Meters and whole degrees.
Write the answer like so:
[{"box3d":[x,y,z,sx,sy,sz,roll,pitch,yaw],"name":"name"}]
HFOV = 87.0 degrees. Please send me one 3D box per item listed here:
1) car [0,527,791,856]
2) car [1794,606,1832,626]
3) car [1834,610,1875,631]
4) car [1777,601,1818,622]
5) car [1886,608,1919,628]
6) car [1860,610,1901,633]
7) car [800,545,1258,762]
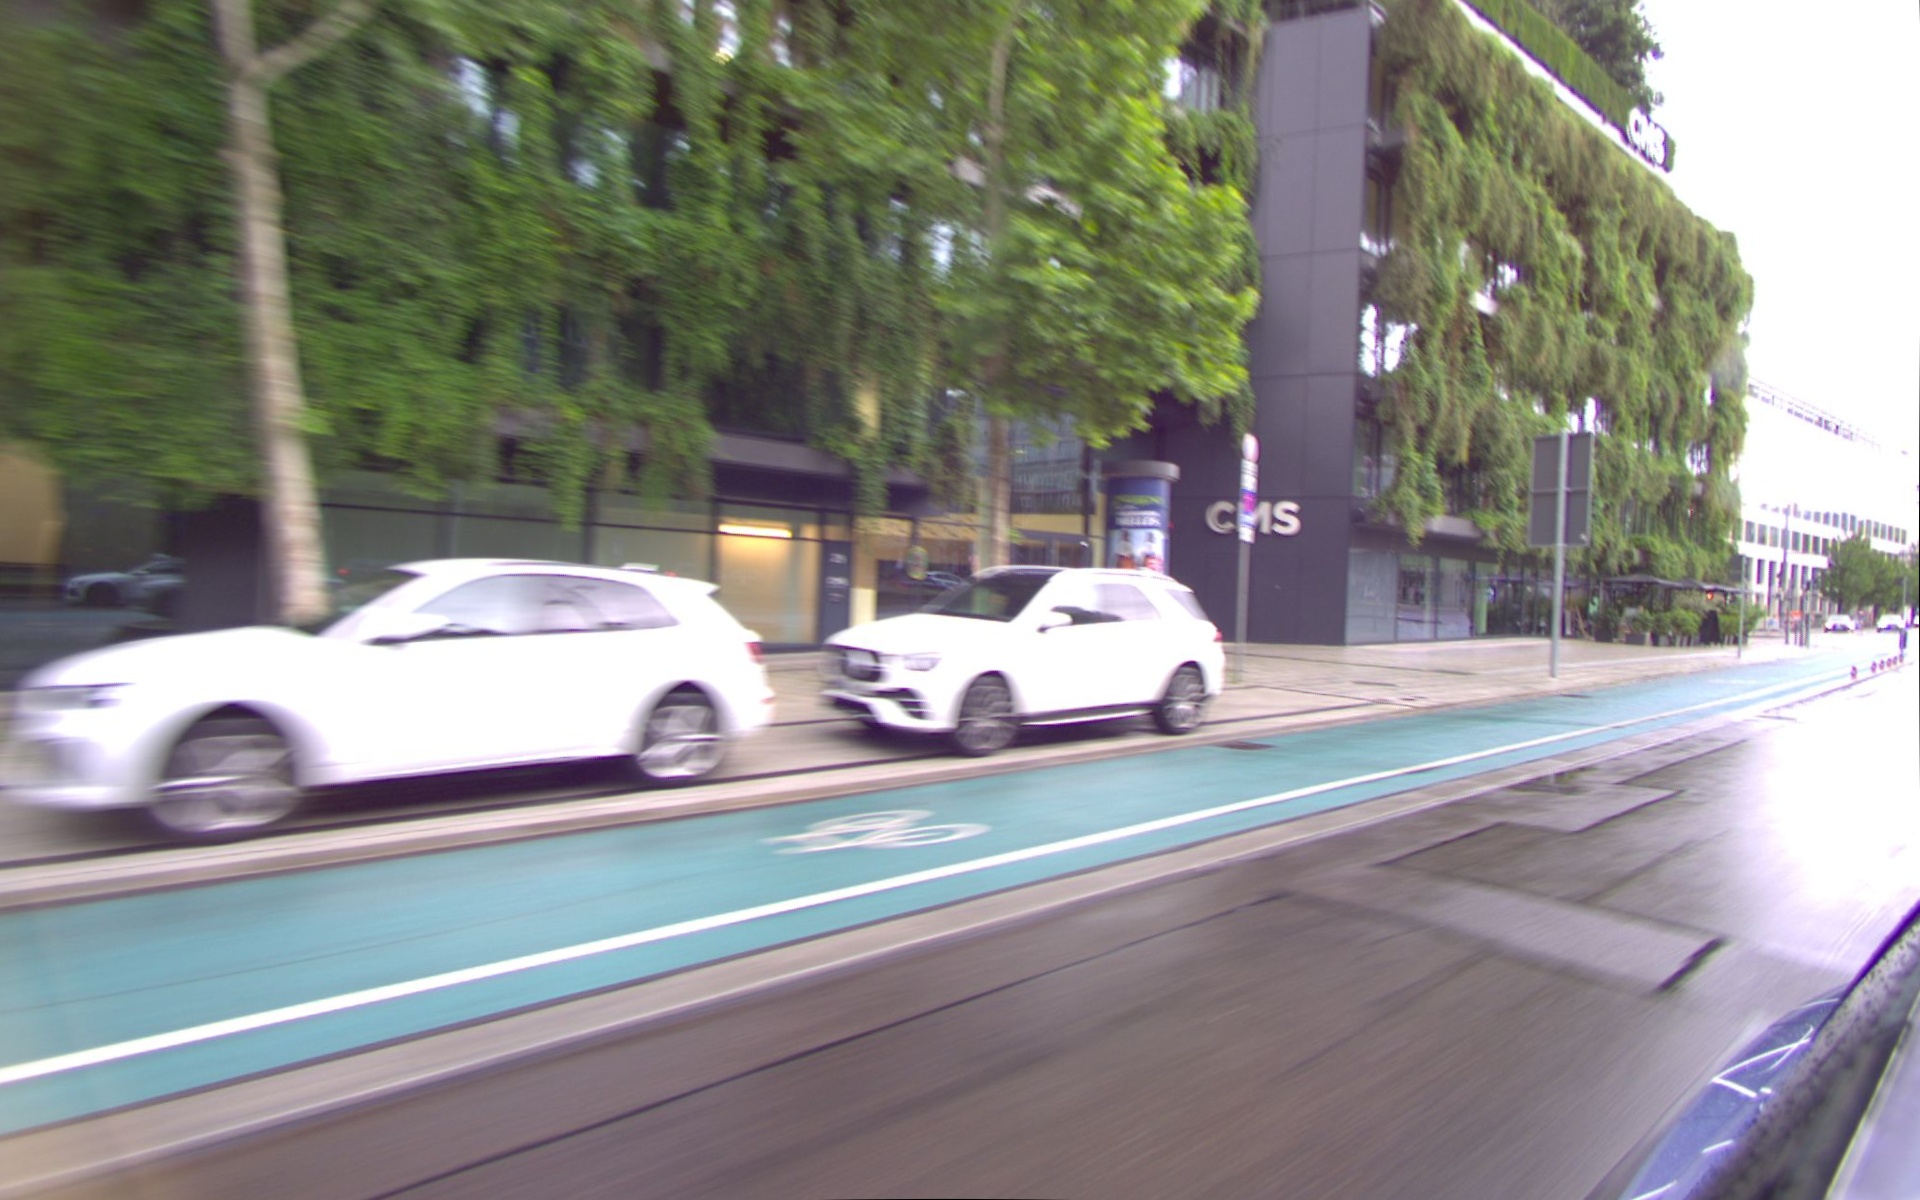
[{"box3d":[-3.728,0.467,7.247,4.702,1.653,1.847,1,0,-41],"name":"car"},{"box3d":[72.640,1.336,86.175,4.588,1.572,1.738,0,1,-40],"name":"car"},{"box3d":[70.715,1.593,79.981,4.588,1.571,1.738,0,1,-40],"name":"car"},{"box3d":[66.783,0.903,80.702,4.588,1.572,1.738,0,1,-40],"name":"car"},{"box3d":[78.184,1.445,83.742,4.588,1.572,1.738,0,1,-40],"name":"car"},{"box3d":[69.730,1.611,76.651,4.588,1.572,1.738,0,1,-40],"name":"car"},{"box3d":[0.940,0.449,10.989,5.001,1.861,1.848,1,2,-39],"name":"car"}]
